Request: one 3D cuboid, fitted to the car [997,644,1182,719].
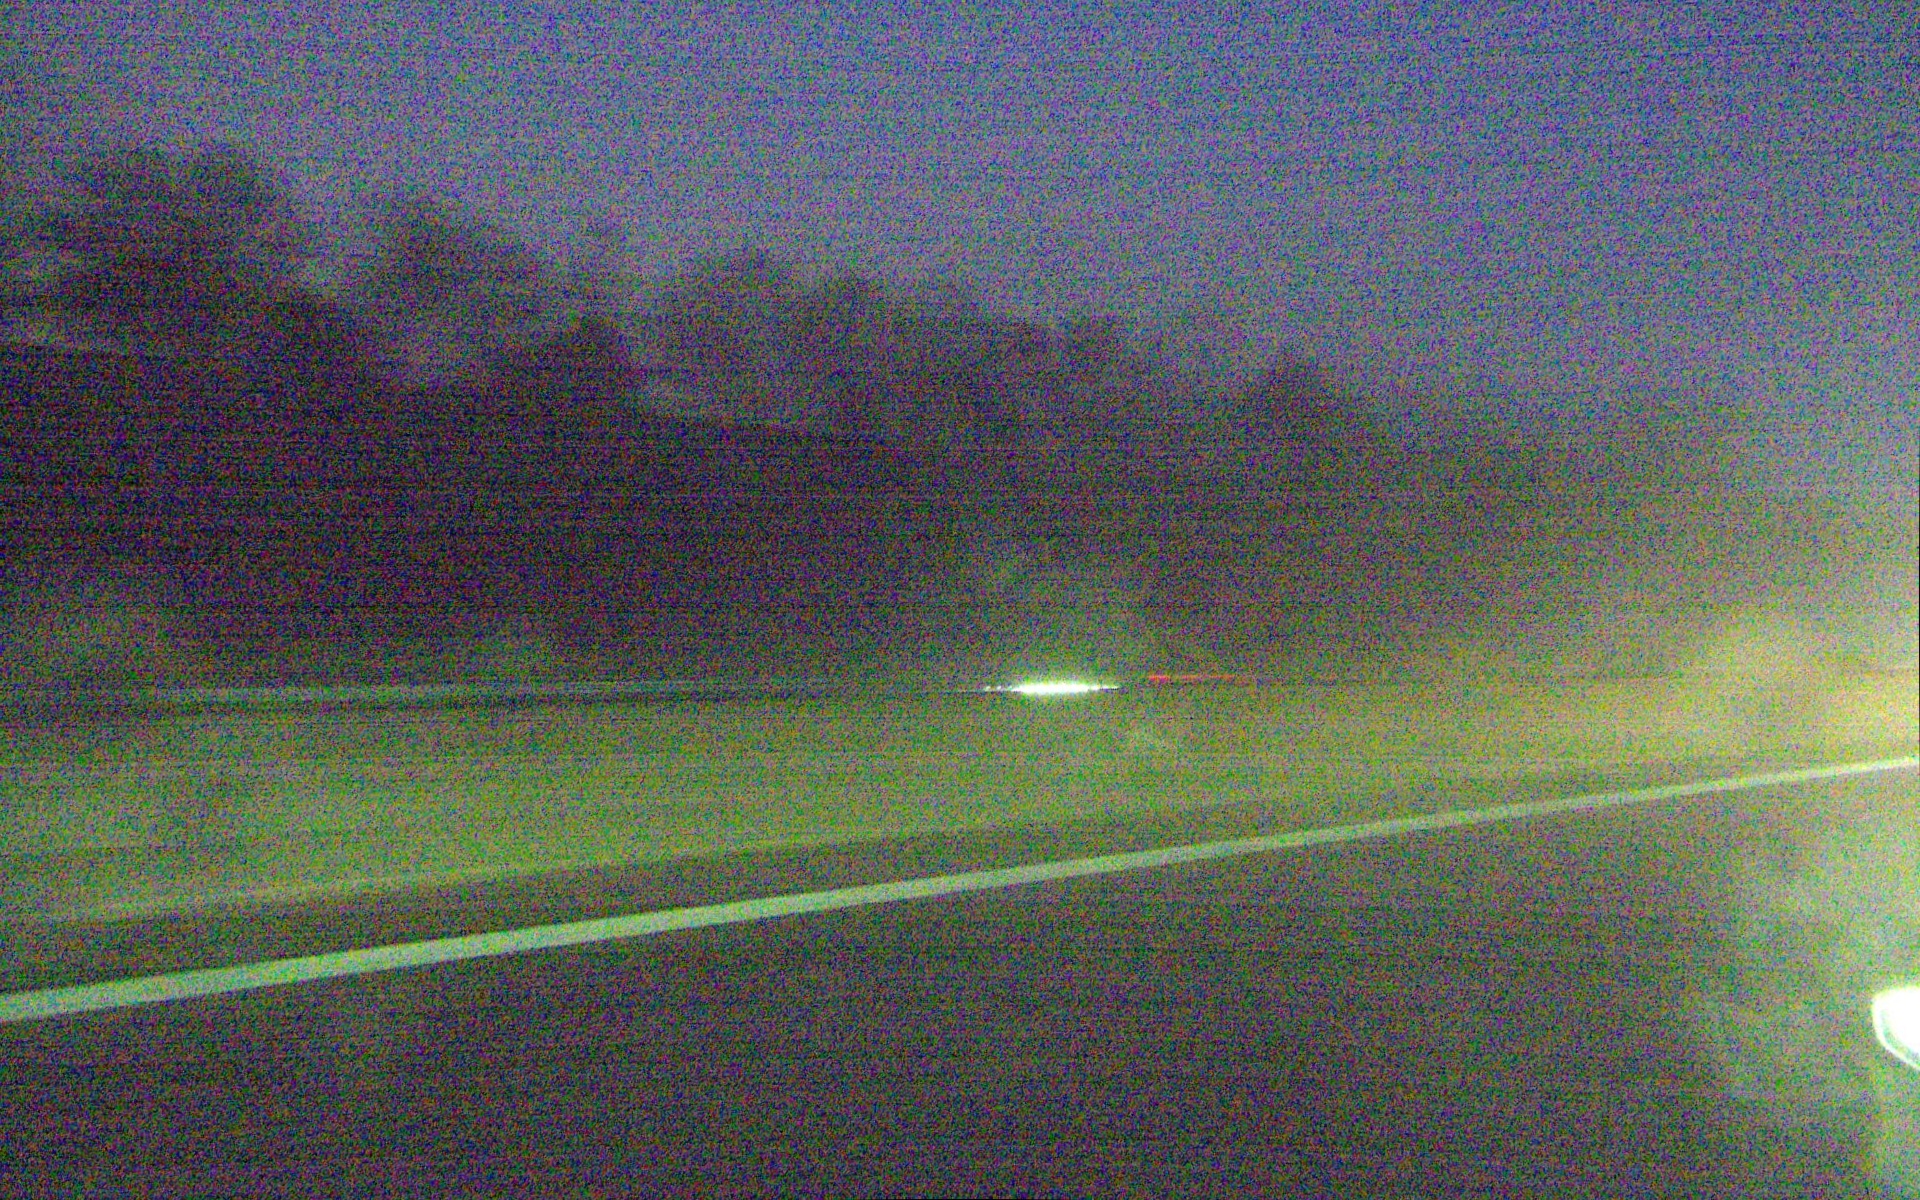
[{"bbox_3d":[3.087,1.868,23.825,3.952,1.506,1.984,1,1,-30],"label":"car"}]
